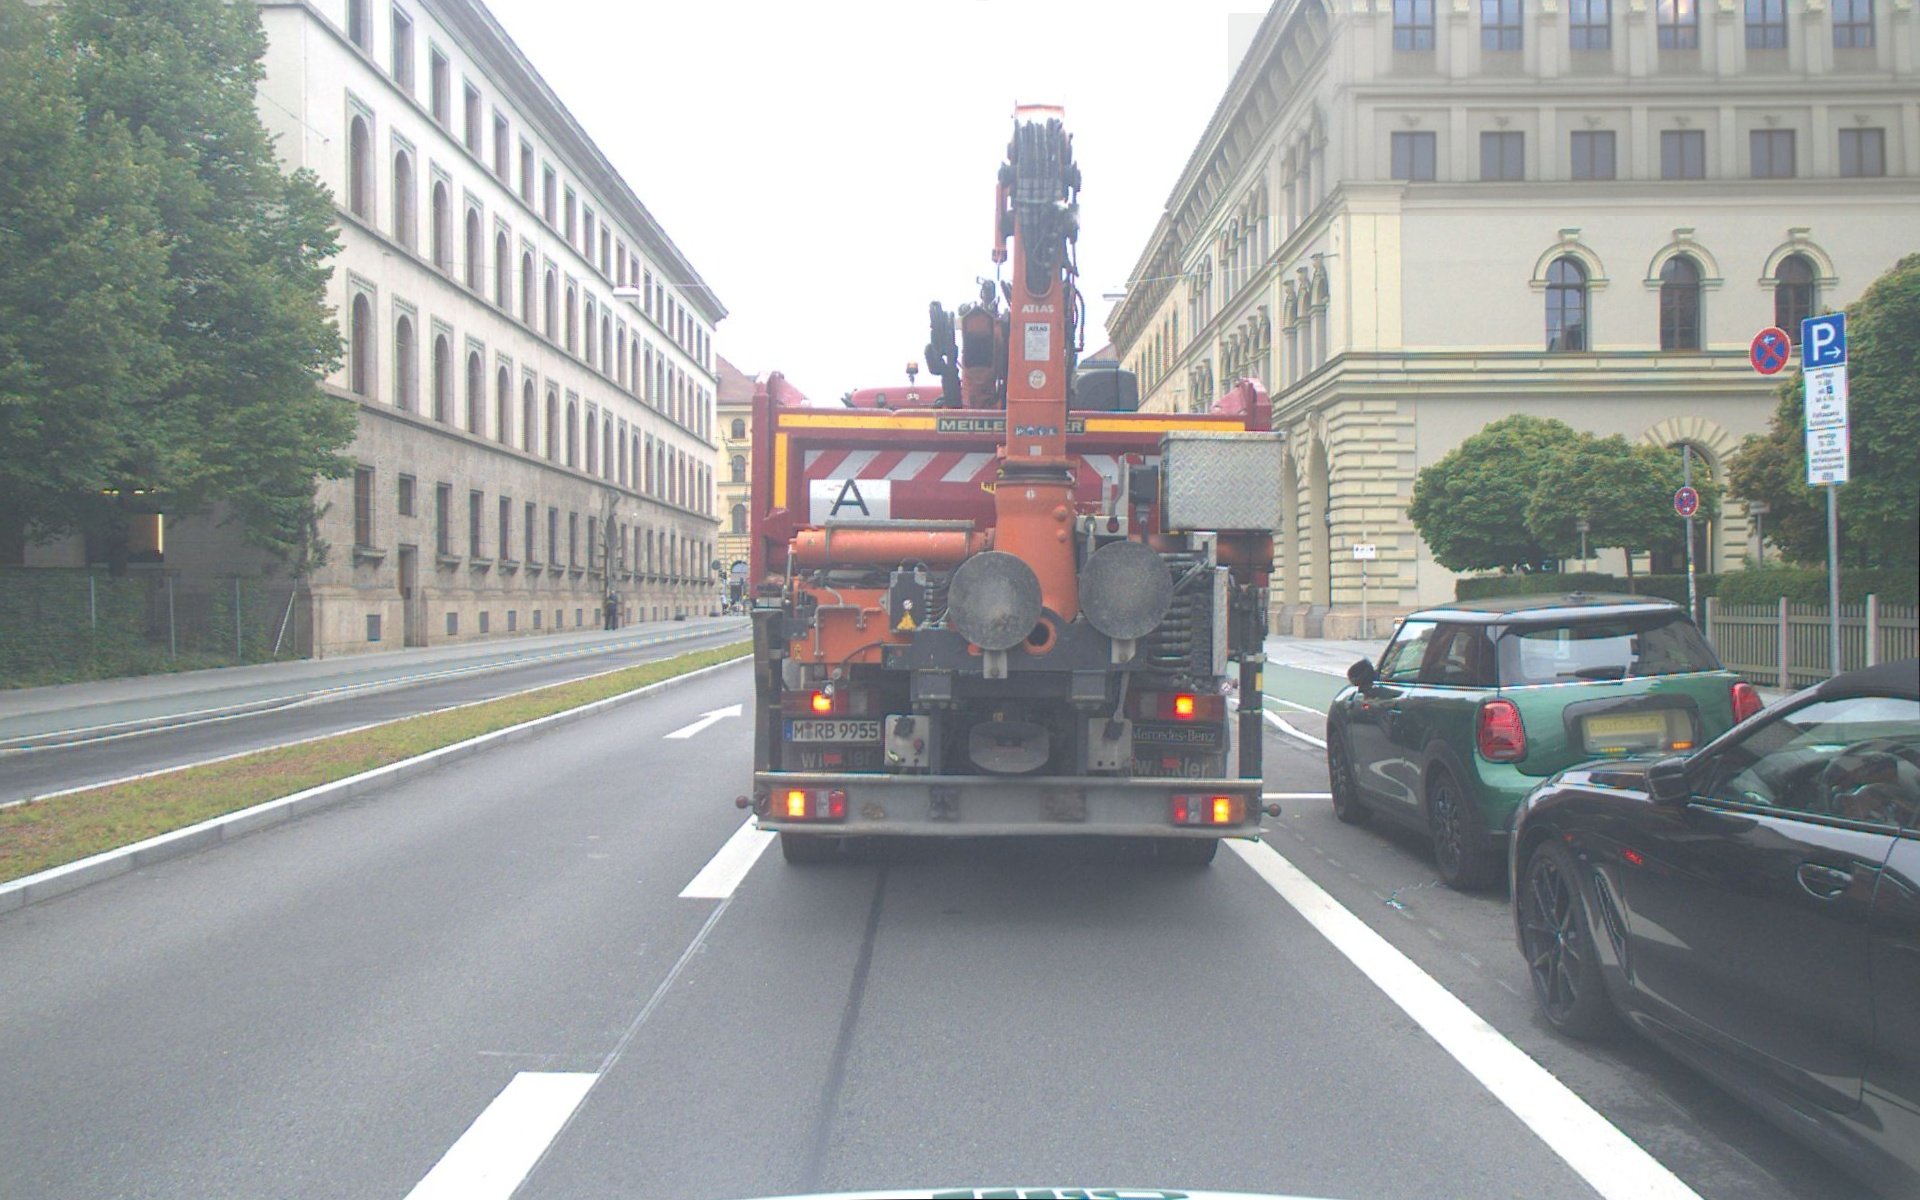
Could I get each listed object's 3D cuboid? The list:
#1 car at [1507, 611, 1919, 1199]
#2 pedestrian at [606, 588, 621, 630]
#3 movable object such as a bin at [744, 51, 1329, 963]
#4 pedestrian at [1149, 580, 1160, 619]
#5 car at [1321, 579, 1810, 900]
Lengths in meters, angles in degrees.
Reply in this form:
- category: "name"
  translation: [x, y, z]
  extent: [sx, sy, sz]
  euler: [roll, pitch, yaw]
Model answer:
- category: "car"
  translation: [2.881, 0.770, 3.973]
  extent: [1.646, 1.410, 4.426]
  euler: [1, 0, 0]
- category: "pedestrian"
  translation: [-15.421, 0.414, 73.619]
  extent: [0.577, 1.863, 0.498]
  euler: [0, 0, -2]
- category: "movable object such as a bin"
  translation: [0.258, -0.393, 9.629]
  extent: [2.374, 3.674, 5.850]
  euler: [0, 0, -1]
- category: "pedestrian"
  translation: [9.248, -0.017, 78.735]
  extent: [0.436, 1.868, 0.556]
  euler: [-1, 0, 1]
- category: "car"
  translation: [3.284, 0.658, 9.660]
  extent: [1.577, 1.521, 3.424]
  euler: [-1, 0, 0]
